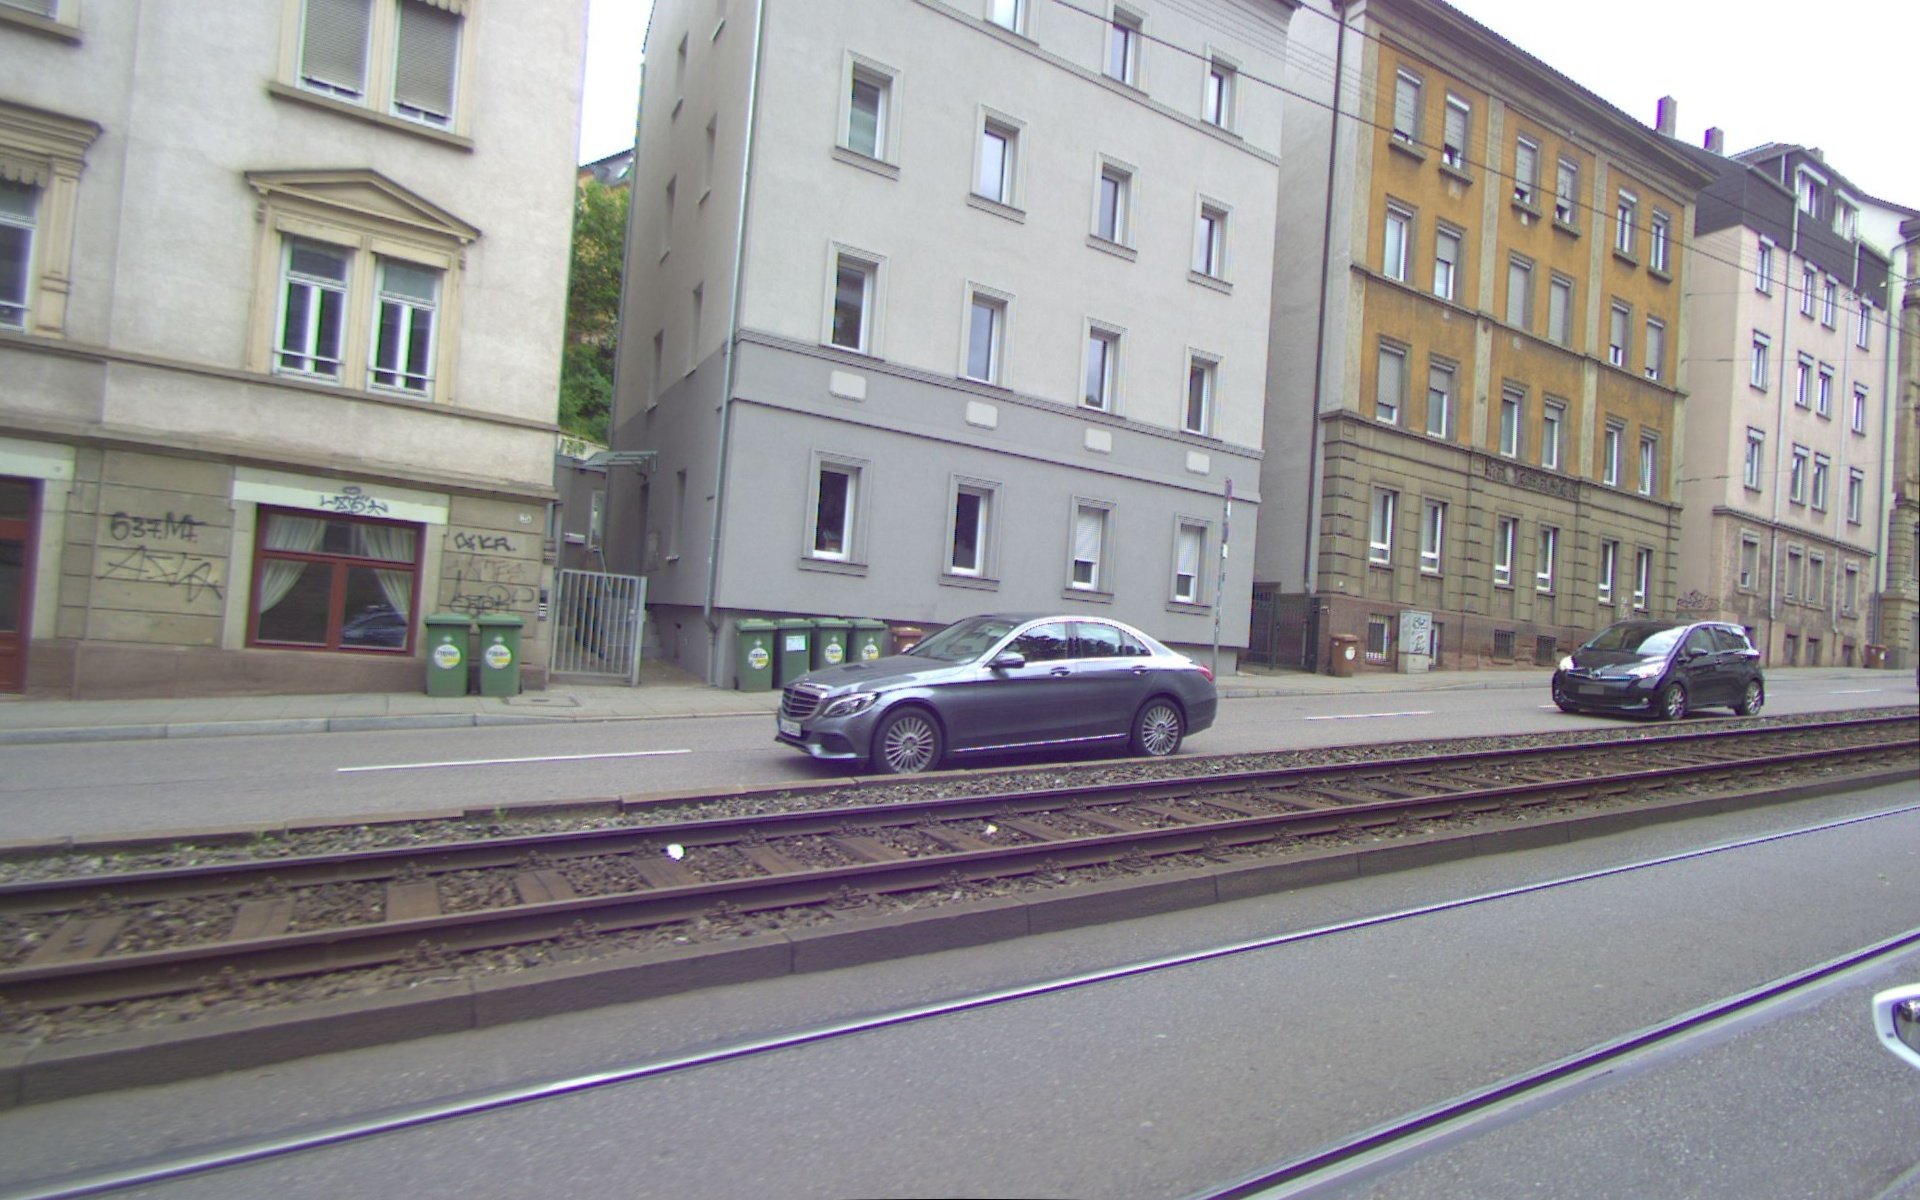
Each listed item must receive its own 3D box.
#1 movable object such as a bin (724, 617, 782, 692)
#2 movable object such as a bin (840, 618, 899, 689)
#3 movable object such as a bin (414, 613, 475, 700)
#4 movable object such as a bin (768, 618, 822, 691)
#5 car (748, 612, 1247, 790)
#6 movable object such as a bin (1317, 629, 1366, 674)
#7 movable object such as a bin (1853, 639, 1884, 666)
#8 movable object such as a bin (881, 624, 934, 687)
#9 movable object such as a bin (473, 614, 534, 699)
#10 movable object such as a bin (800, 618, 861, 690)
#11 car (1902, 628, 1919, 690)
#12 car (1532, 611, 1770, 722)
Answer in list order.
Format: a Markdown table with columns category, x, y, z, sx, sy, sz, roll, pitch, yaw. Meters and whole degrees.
| category | x | y | z | sx | sy | sz | roll | pitch | yaw |
| --- | --- | --- | --- | --- | --- | --- | --- | --- | --- |
| movable object such as a bin | -3.146 | 0.812 | 15.276 | 0.663 | 1.088 | 0.724 | 1 | 0 | -30 |
| movable object such as a bin | -1.469 | 0.855 | 16.257 | 0.668 | 1.088 | 0.821 | 1 | 0 | -29 |
| movable object such as a bin | -6.741 | 0.725 | 13.123 | 0.668 | 1.088 | 0.684 | 1 | 0 | -30 |
| movable object such as a bin | -2.553 | 0.827 | 15.540 | 0.599 | 1.088 | 0.739 | 1 | 0 | -29 |
| car | 0.473 | 0.862 | 9.938 | 4.709 | 1.379 | 1.803 | 1 | 0 | -30 |
| movable object such as a bin | 8.492 | 1.143 | 22.380 | 0.645 | 0.960 | 0.775 | 1 | 0 | -29 |
| movable object such as a bin | 33.772 | 1.951 | 37.321 | 0.668 | 0.923 | 0.626 | 1 | 3 | -30 |
| movable object such as a bin | -0.870 | 0.911 | 16.704 | 0.668 | 0.998 | 0.619 | 1 | 0 | -30 |
| movable object such as a bin | -6.111 | 0.742 | 13.445 | 0.673 | 1.088 | 0.714 | 1 | 0 | -30 |
| movable object such as a bin | -2.058 | 0.838 | 15.898 | 0.689 | 1.088 | 0.821 | 1 | 0 | -29 |
| car | 25.318 | 1.471 | 24.762 | 4.606 | 1.474 | 1.834 | 1 | 0 | -30 |
| car | 11.445 | 1.033 | 16.593 | 3.922 | 1.617 | 1.735 | 1 | 0 | -30 |
